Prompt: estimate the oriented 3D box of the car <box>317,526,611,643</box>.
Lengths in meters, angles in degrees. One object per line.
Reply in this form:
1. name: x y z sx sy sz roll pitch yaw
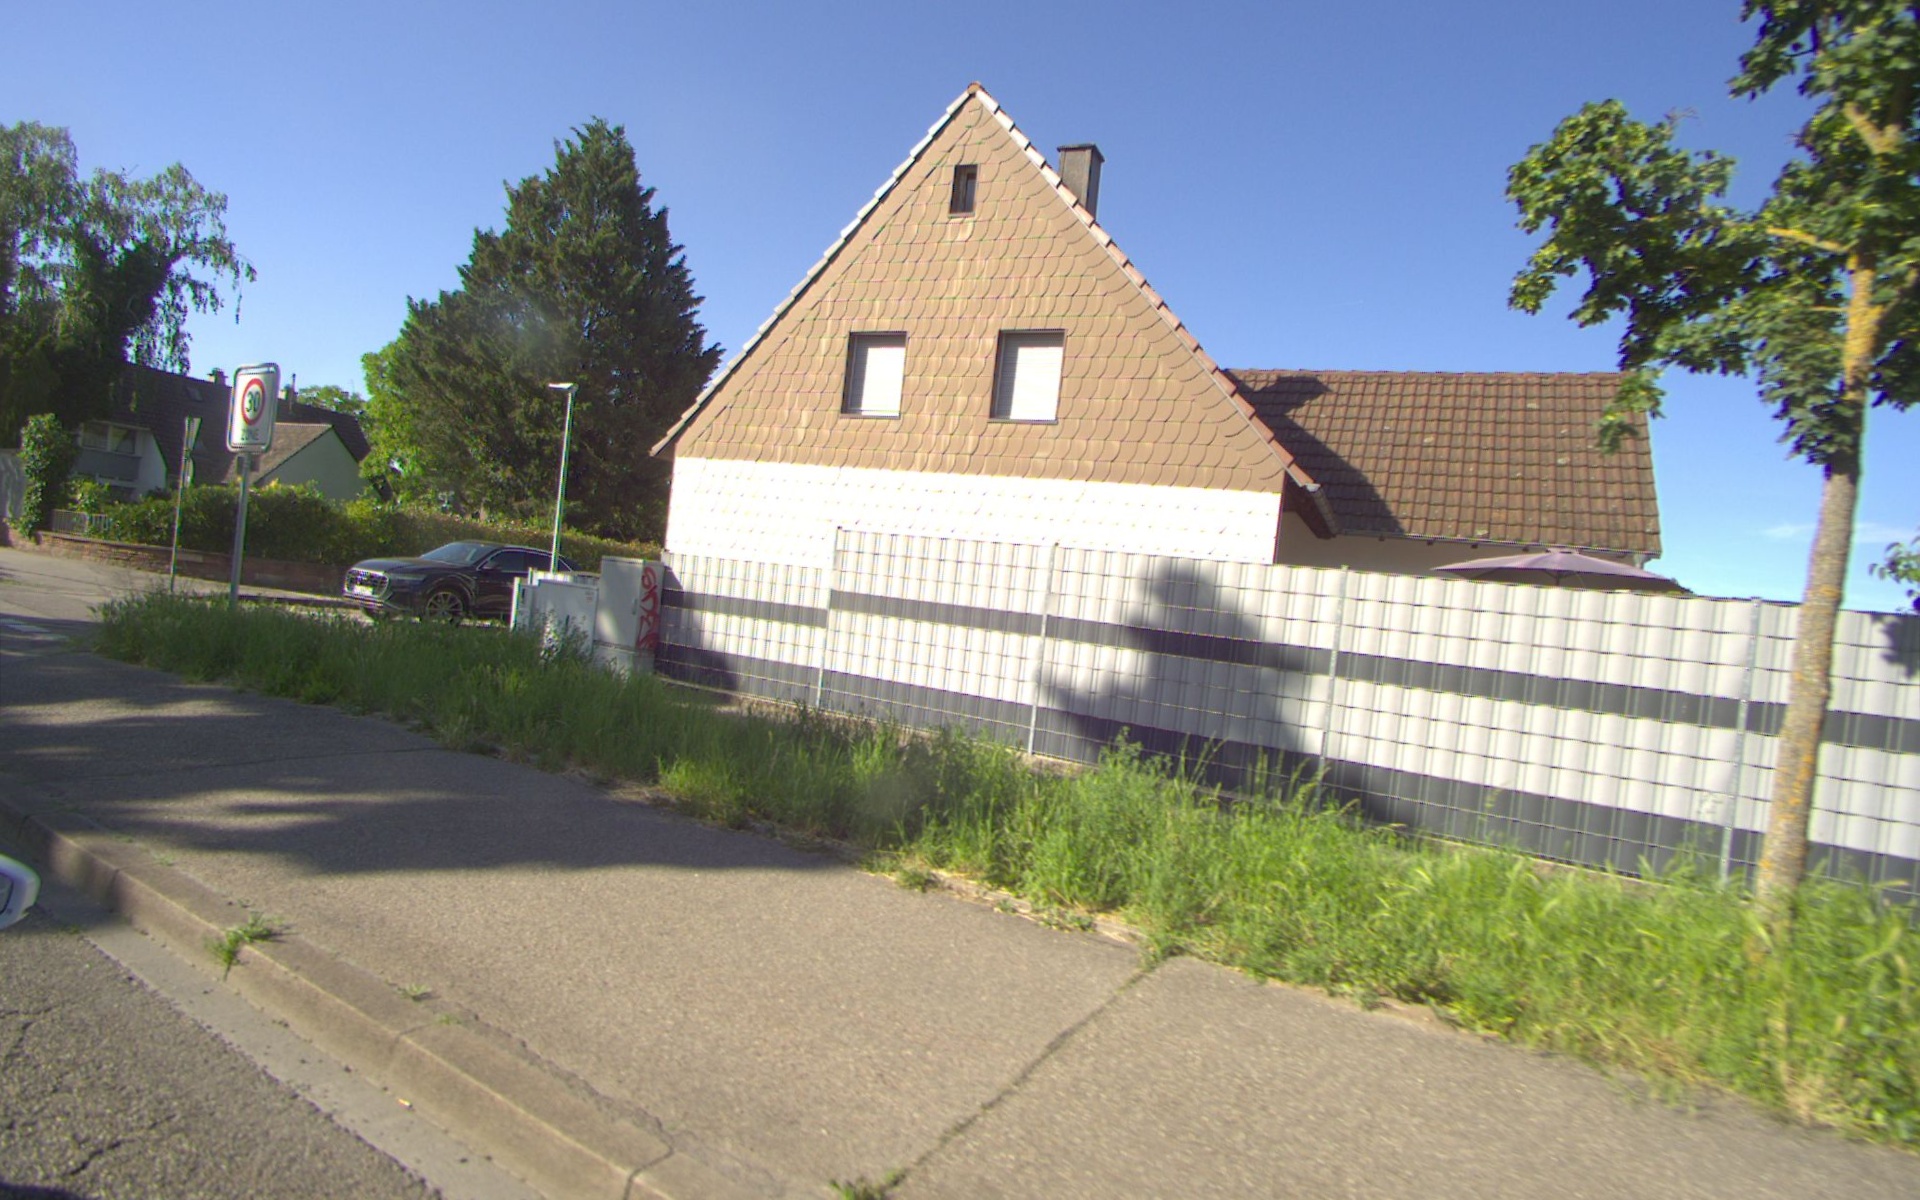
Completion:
1. car: -9.331 -0.199 19.432 2.034 1.676 4.755 7 -1 25
